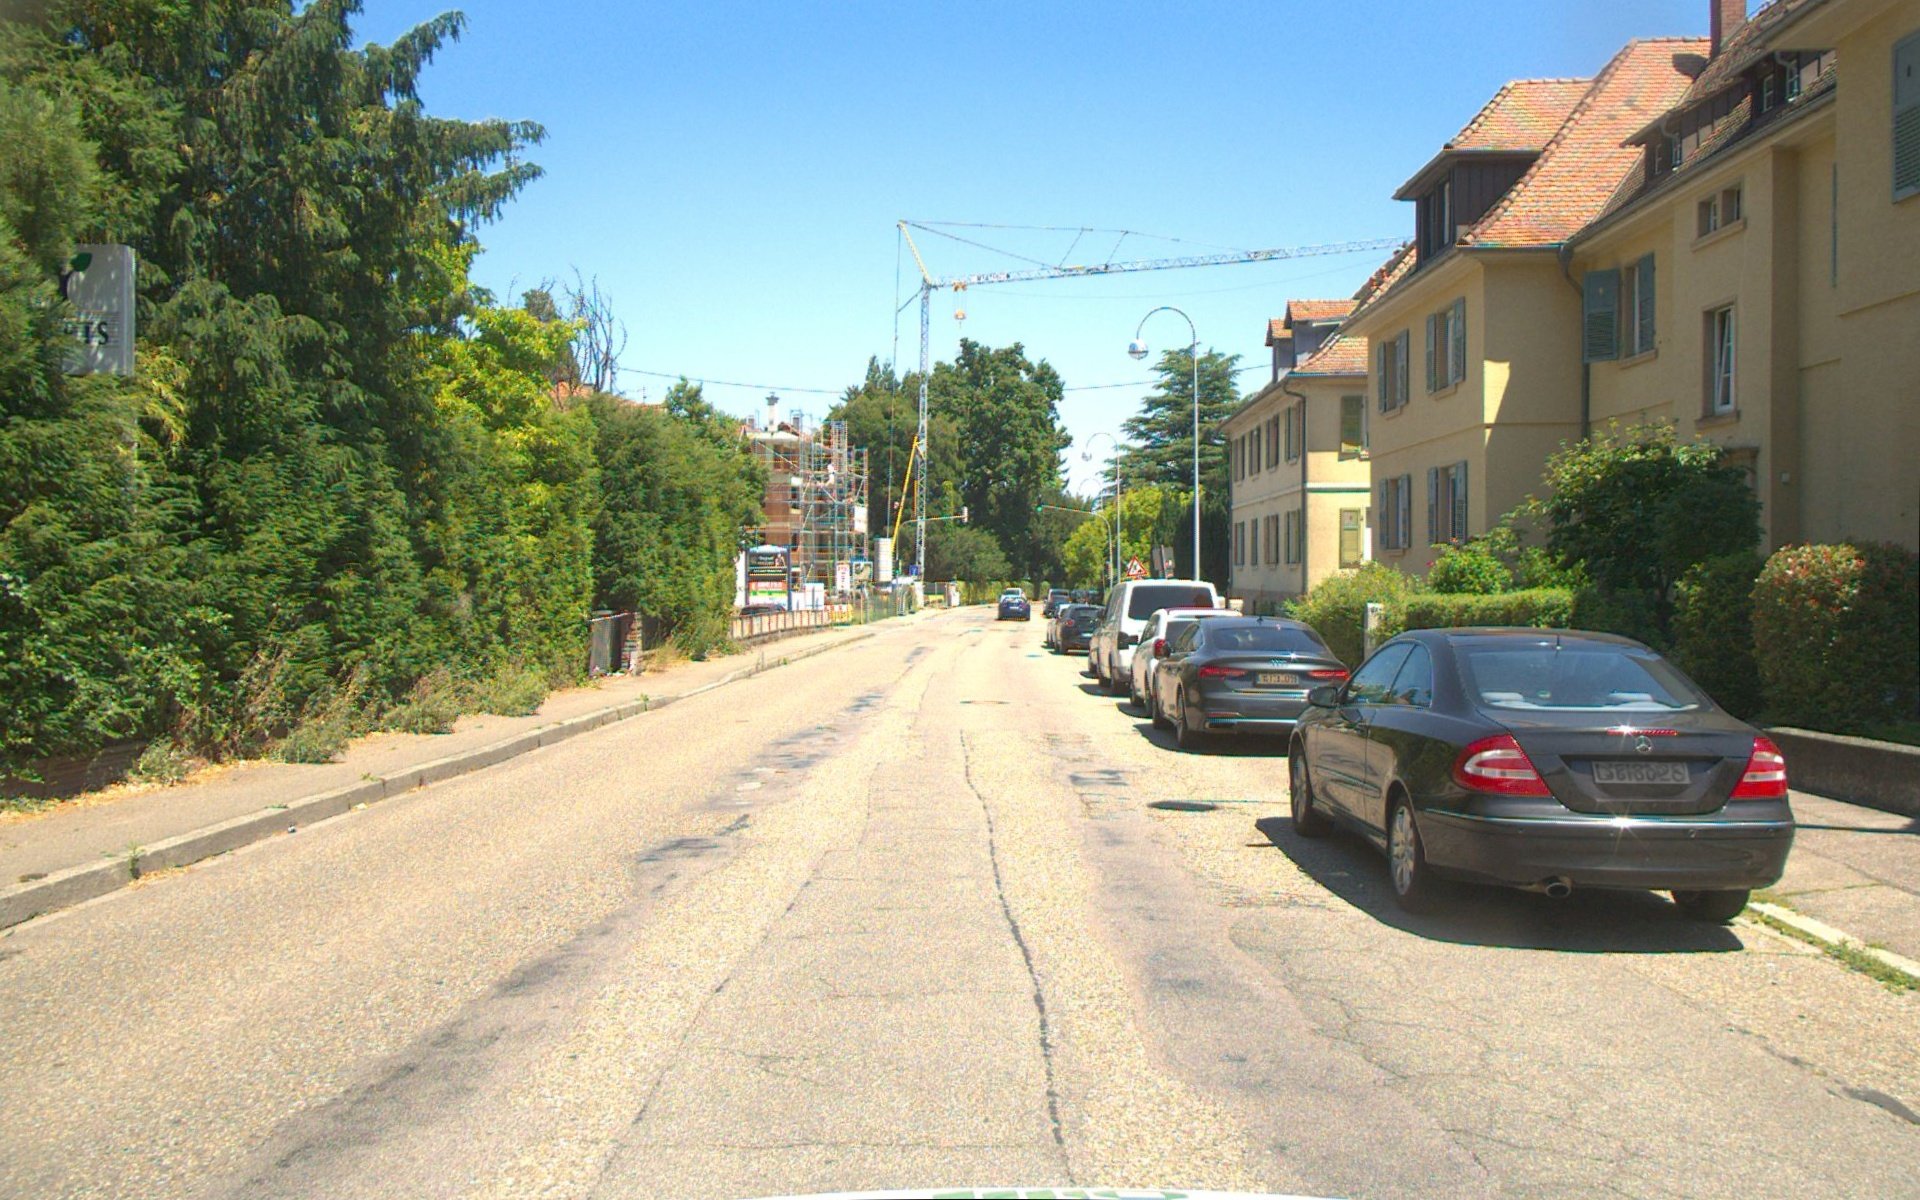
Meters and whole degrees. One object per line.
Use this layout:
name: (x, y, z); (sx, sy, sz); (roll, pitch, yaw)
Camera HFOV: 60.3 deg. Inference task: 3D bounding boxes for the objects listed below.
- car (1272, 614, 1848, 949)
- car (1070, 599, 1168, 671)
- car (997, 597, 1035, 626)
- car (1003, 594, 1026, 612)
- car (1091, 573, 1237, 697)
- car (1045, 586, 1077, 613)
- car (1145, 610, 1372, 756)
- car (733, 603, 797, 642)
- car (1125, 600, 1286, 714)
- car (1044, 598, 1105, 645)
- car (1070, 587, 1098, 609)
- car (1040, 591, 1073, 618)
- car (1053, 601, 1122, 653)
car: (3.046, 0.812, 9.484); (1.658, 1.443, 4.550); (0, 0, 0)
car: (3.440, 0.731, 36.445); (1.725, 1.477, 4.223); (0, 0, 0)
car: (3.260, 0.642, 95.918); (1.917, 1.494, 4.003); (0, 2, 5)
car: (4.556, 0.242, 137.130); (1.724, 1.477, 3.841); (0, 0, 4)
car: (3.492, 0.565, 29.145); (1.953, 1.934, 4.823); (2, 0, 0)
car: (6.656, -0.047, 108.510); (1.951, 1.691, 4.002); (-1, 0, 5)
car: (3.221, 0.842, 18.727); (1.725, 1.395, 4.607); (0, 0, 0)
car: (-7.350, 0.823, 62.667); (1.624, 1.413, 3.537); (-1, 0, 7)
car: (3.413, 0.754, 23.583); (1.725, 1.477, 3.648); (0, 0, 0)
car: (3.758, 0.683, 54.768); (1.725, 1.477, 3.889); (0, 0, 0)
car: (9.815, -0.135, 131.035); (1.951, 1.691, 4.003); (-1, 0, 8)
car: (6.067, 0.288, 103.720); (1.951, 1.601, 4.002); (-1, 0, 5)
car: (3.738, 0.771, 48.995); (1.725, 1.477, 3.839); (0, 0, 0)
